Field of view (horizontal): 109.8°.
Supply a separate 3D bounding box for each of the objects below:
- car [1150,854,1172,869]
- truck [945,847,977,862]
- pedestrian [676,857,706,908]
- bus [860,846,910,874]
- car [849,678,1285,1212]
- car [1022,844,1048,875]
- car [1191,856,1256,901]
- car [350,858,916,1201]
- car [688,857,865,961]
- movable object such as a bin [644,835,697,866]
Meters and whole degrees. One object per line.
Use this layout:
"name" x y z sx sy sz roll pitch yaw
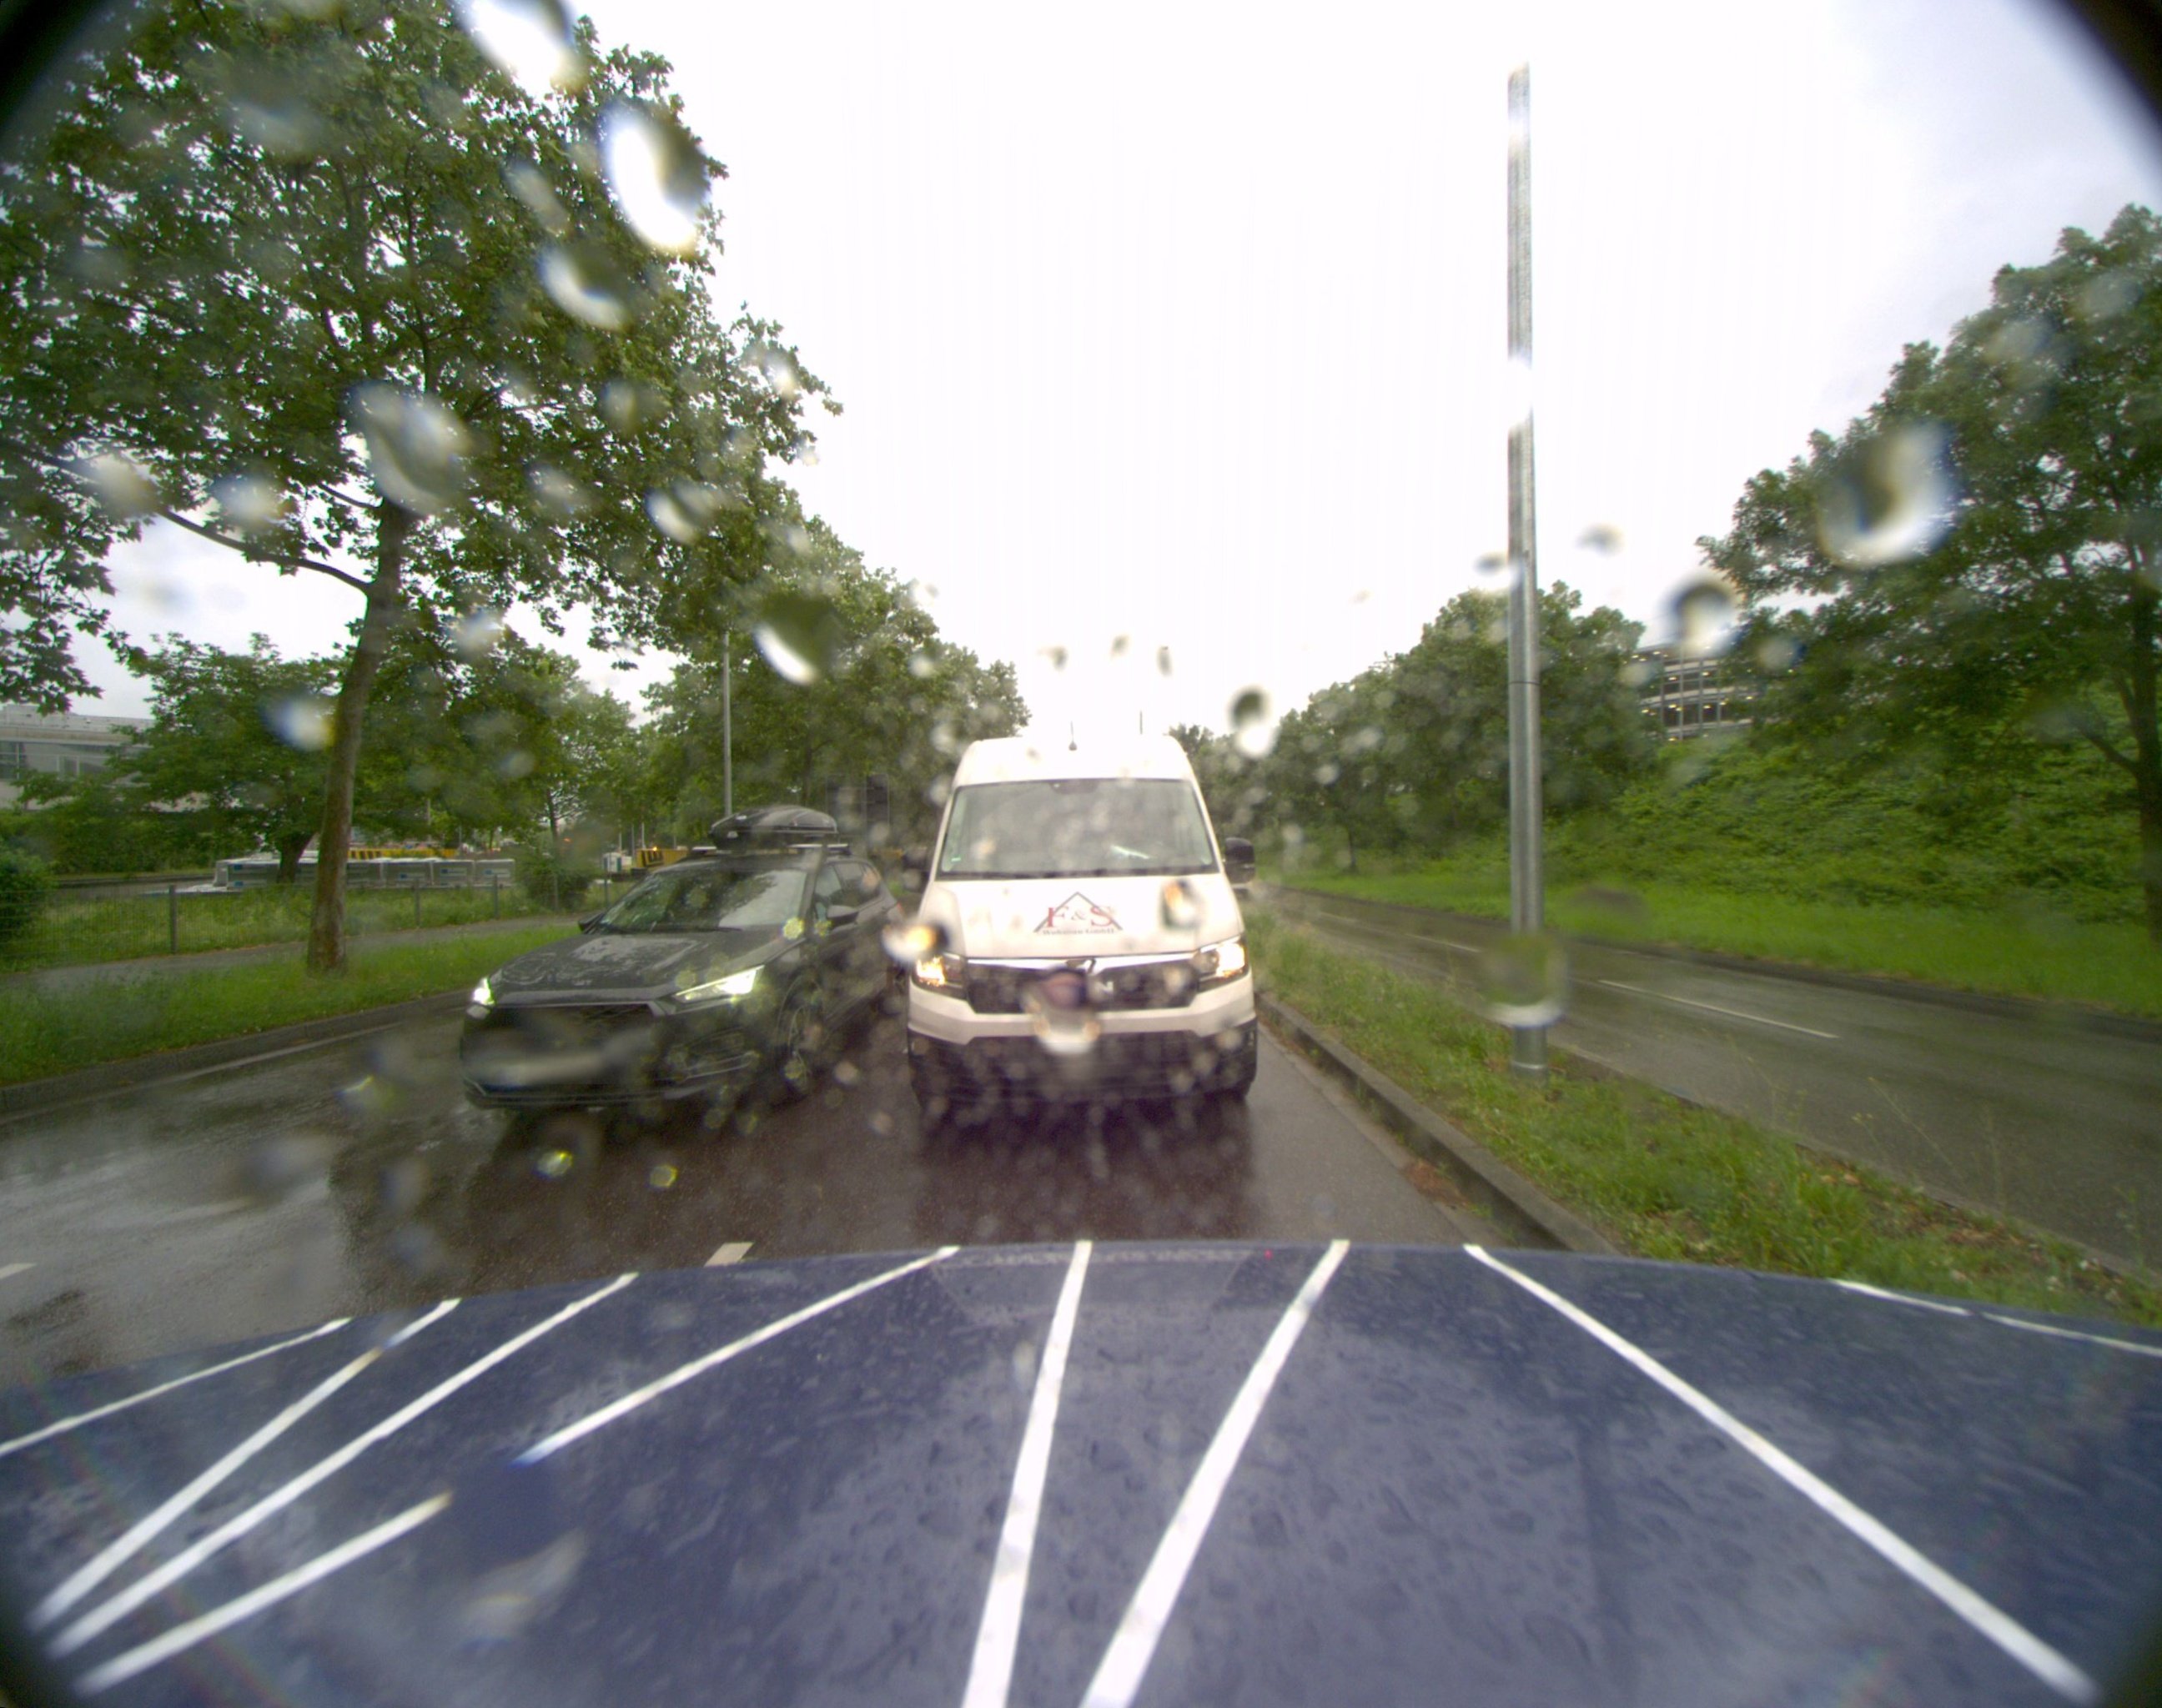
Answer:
"car" 8.433 0.741 80.613 1.891 1.510 4.301 1 0 0
"truck" -20.990 0.078 132.618 5.061 2.363 1.792 -3 1 -30
"pedestrian" -13.577 0.991 26.461 0.646 1.707 0.656 -2 1 1
"bus" -19.141 0.560 74.390 4.370 2.553 1.711 -2 1 0
"car" -0.109 0.422 6.458 2.027 2.498 5.695 -1 0 -1
"car" -3.841 0.439 64.541 1.894 2.432 5.317 -1 0 -1
"car" 5.442 0.905 29.512 1.739 1.511 4.047 2 1 0
"car" -2.766 0.910 6.100 1.894 1.688 4.423 -1 0 0
"car" -5.740 0.952 14.920 1.679 1.675 4.148 -3 0 1
"movable object such as a bin" -48.358 -0.403 89.607 1.913 3.415 4.947 -1 1 45
